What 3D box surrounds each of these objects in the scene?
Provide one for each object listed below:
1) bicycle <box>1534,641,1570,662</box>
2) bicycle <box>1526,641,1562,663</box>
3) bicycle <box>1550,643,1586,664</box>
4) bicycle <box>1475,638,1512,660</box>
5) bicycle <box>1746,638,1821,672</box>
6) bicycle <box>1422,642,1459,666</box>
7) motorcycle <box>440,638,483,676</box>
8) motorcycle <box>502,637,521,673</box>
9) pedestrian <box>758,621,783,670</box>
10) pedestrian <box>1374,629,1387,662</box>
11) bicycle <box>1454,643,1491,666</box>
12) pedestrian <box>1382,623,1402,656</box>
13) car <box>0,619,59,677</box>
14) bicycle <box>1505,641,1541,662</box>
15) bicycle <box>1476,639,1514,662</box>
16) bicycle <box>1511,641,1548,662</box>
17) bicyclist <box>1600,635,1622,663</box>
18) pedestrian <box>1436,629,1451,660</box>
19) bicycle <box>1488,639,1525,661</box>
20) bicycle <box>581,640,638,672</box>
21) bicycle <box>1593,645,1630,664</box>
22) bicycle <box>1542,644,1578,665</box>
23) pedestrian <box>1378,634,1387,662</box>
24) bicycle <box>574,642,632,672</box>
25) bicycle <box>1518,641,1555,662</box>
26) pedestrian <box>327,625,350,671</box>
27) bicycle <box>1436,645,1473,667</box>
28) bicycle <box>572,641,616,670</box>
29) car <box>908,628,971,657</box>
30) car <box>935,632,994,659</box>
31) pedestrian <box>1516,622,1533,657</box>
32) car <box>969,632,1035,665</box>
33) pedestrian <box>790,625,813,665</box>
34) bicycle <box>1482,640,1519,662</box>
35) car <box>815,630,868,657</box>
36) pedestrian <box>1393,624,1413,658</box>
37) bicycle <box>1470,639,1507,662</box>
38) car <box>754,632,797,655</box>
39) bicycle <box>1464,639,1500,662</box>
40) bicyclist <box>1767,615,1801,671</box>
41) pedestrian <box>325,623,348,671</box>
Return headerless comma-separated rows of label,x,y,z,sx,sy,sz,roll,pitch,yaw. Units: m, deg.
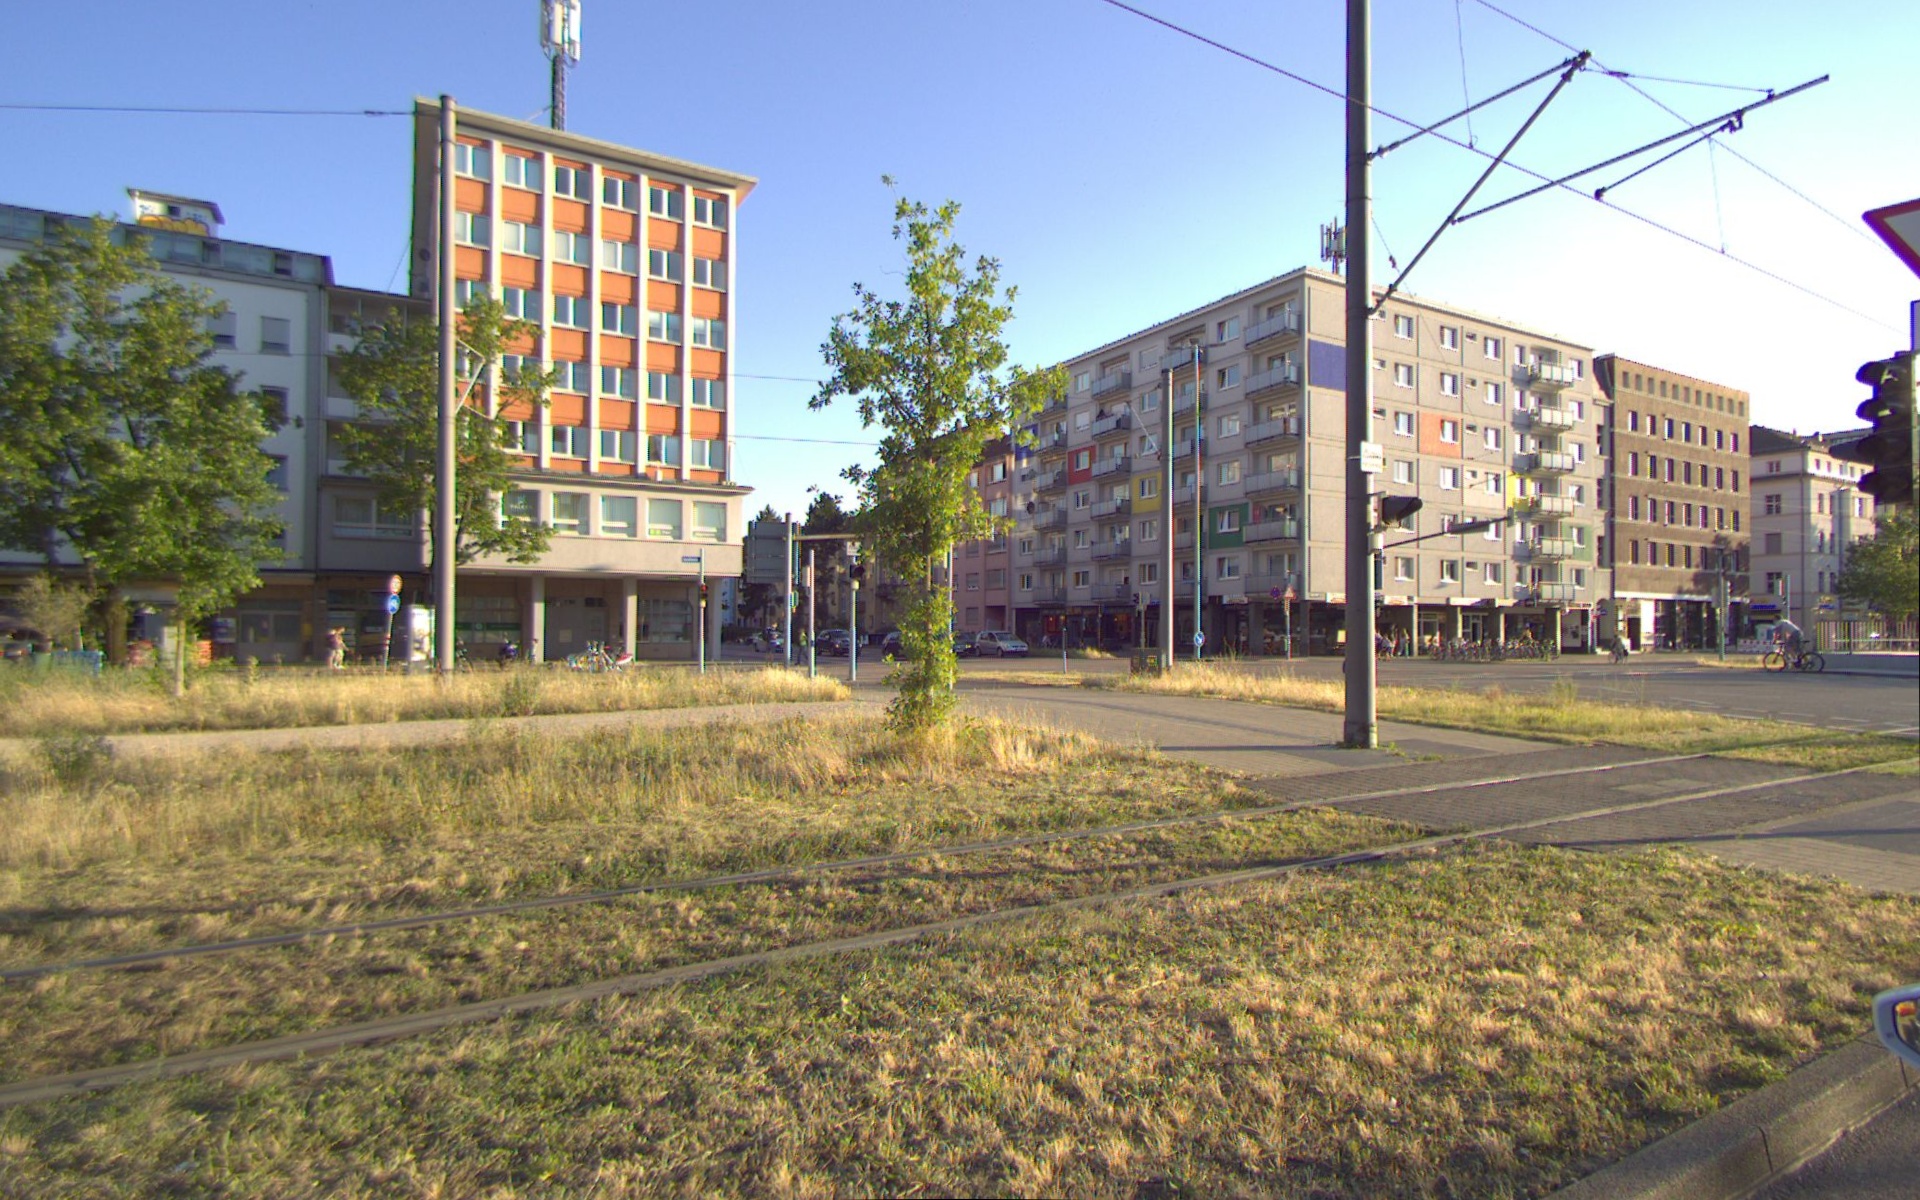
bicycle,33.863,2.942,57.459,0.739,1.194,1.684,1,-1,-28
bicycle,33.204,2.935,57.102,0.696,1.168,1.684,1,-1,-28
bicycle,35.183,3.111,58.152,0.688,1.159,1.684,1,-1,-28
bicycle,29.638,2.738,55.824,0.632,1.176,1.823,1,-2,-29
bicycle,27.538,1.814,33.611,0.628,1.089,1.883,1,-2,-43
bicycle,25.799,2.906,53.952,0.631,1.224,1.786,1,-2,-30
motorcycle,-17.800,2.024,35.866,1.373,1.335,0.378,1,-1,-28
motorcycle,-16.954,2.065,37.977,0.538,1.335,1.823,1,-1,-27
pedestrian,-7.731,1.860,40.924,0.708,1.972,0.720,-1,-2,43
pedestrian,21.429,2.309,51.204,0.563,1.641,0.602,0,-1,29
bicycle,27.616,2.938,54.131,0.592,1.154,1.749,1,-2,-29
pedestrian,24.721,2.265,57.529,0.715,1.837,0.820,1,-1,-40
car,-30.100,1.419,30.230,3.927,1.706,1.997,1,-1,-9
bicycle,31.531,2.861,56.233,0.545,1.132,1.747,1,-2,-29
bicycle,29.249,2.760,54.906,0.644,1.206,1.780,1,-2,-30
bicycle,32.036,2.887,56.516,0.561,1.134,1.753,1,-2,-29
bicyclist,34.122,2.562,52.656,0.841,1.445,0.501,0,-1,-4
pedestrian,26.762,2.473,55.596,0.542,1.706,0.575,1,-2,-37
bicycle,30.725,2.806,56.485,0.598,1.151,1.763,1,-2,-29
bicycle,-12.571,2.003,36.085,1.885,1.089,0.465,1,-1,-31
bicycle,34.129,2.845,52.659,1.636,0.957,0.509,0,-1,-3
bicycle,34.537,3.140,57.816,0.739,1.185,1.684,1,-1,-28
pedestrian,21.774,2.476,51.763,0.376,1.401,0.394,0,-1,32
bicycle,-13.331,2.119,37.514,1.972,1.089,0.465,1,-1,-31
bicycle,32.596,2.882,56.799,0.626,1.139,1.720,2,-2,-28
pedestrian,-24.351,1.860,39.367,0.690,1.774,0.646,1,-1,-30
bicycle,26.765,3.007,54.350,0.601,1.157,1.768,1,-2,-29
bicycle,-13.995,2.117,38.440,1.543,1.089,0.392,1,-1,-31
car,-1.177,2.319,55.709,1.974,1.505,3.974,1,-2,-26
car,0.223,2.668,59.444,1.974,1.505,3.974,1,-2,-26
pedestrian,35.242,2.450,62.735,0.783,2.207,0.599,1,-1,-30
car,2.292,2.654,55.547,1.974,1.506,3.973,2,1,-26
pedestrian,-7.315,2.075,46.406,0.879,1.855,0.885,1,-1,-20
bicycle,30.194,2.823,56.121,0.598,1.174,1.768,1,-2,-29
car,-7.303,2.665,61.506,1.975,1.551,3.971,1,-1,-28
pedestrian,24.978,2.297,56.628,0.728,1.866,0.780,1,-2,-38
bicycle,28.702,2.759,54.580,0.561,1.197,1.761,1,-2,-29
car,-13.251,3.081,72.048,1.975,1.551,3.971,1,-2,-28
bicycle,28.187,2.736,54.280,0.534,1.183,1.758,1,-1,-29
bicyclist,27.543,1.420,33.575,0.641,1.842,0.785,1,-2,-42
pedestrian,-24.056,1.818,38.776,0.696,1.816,0.590,1,-1,-30
